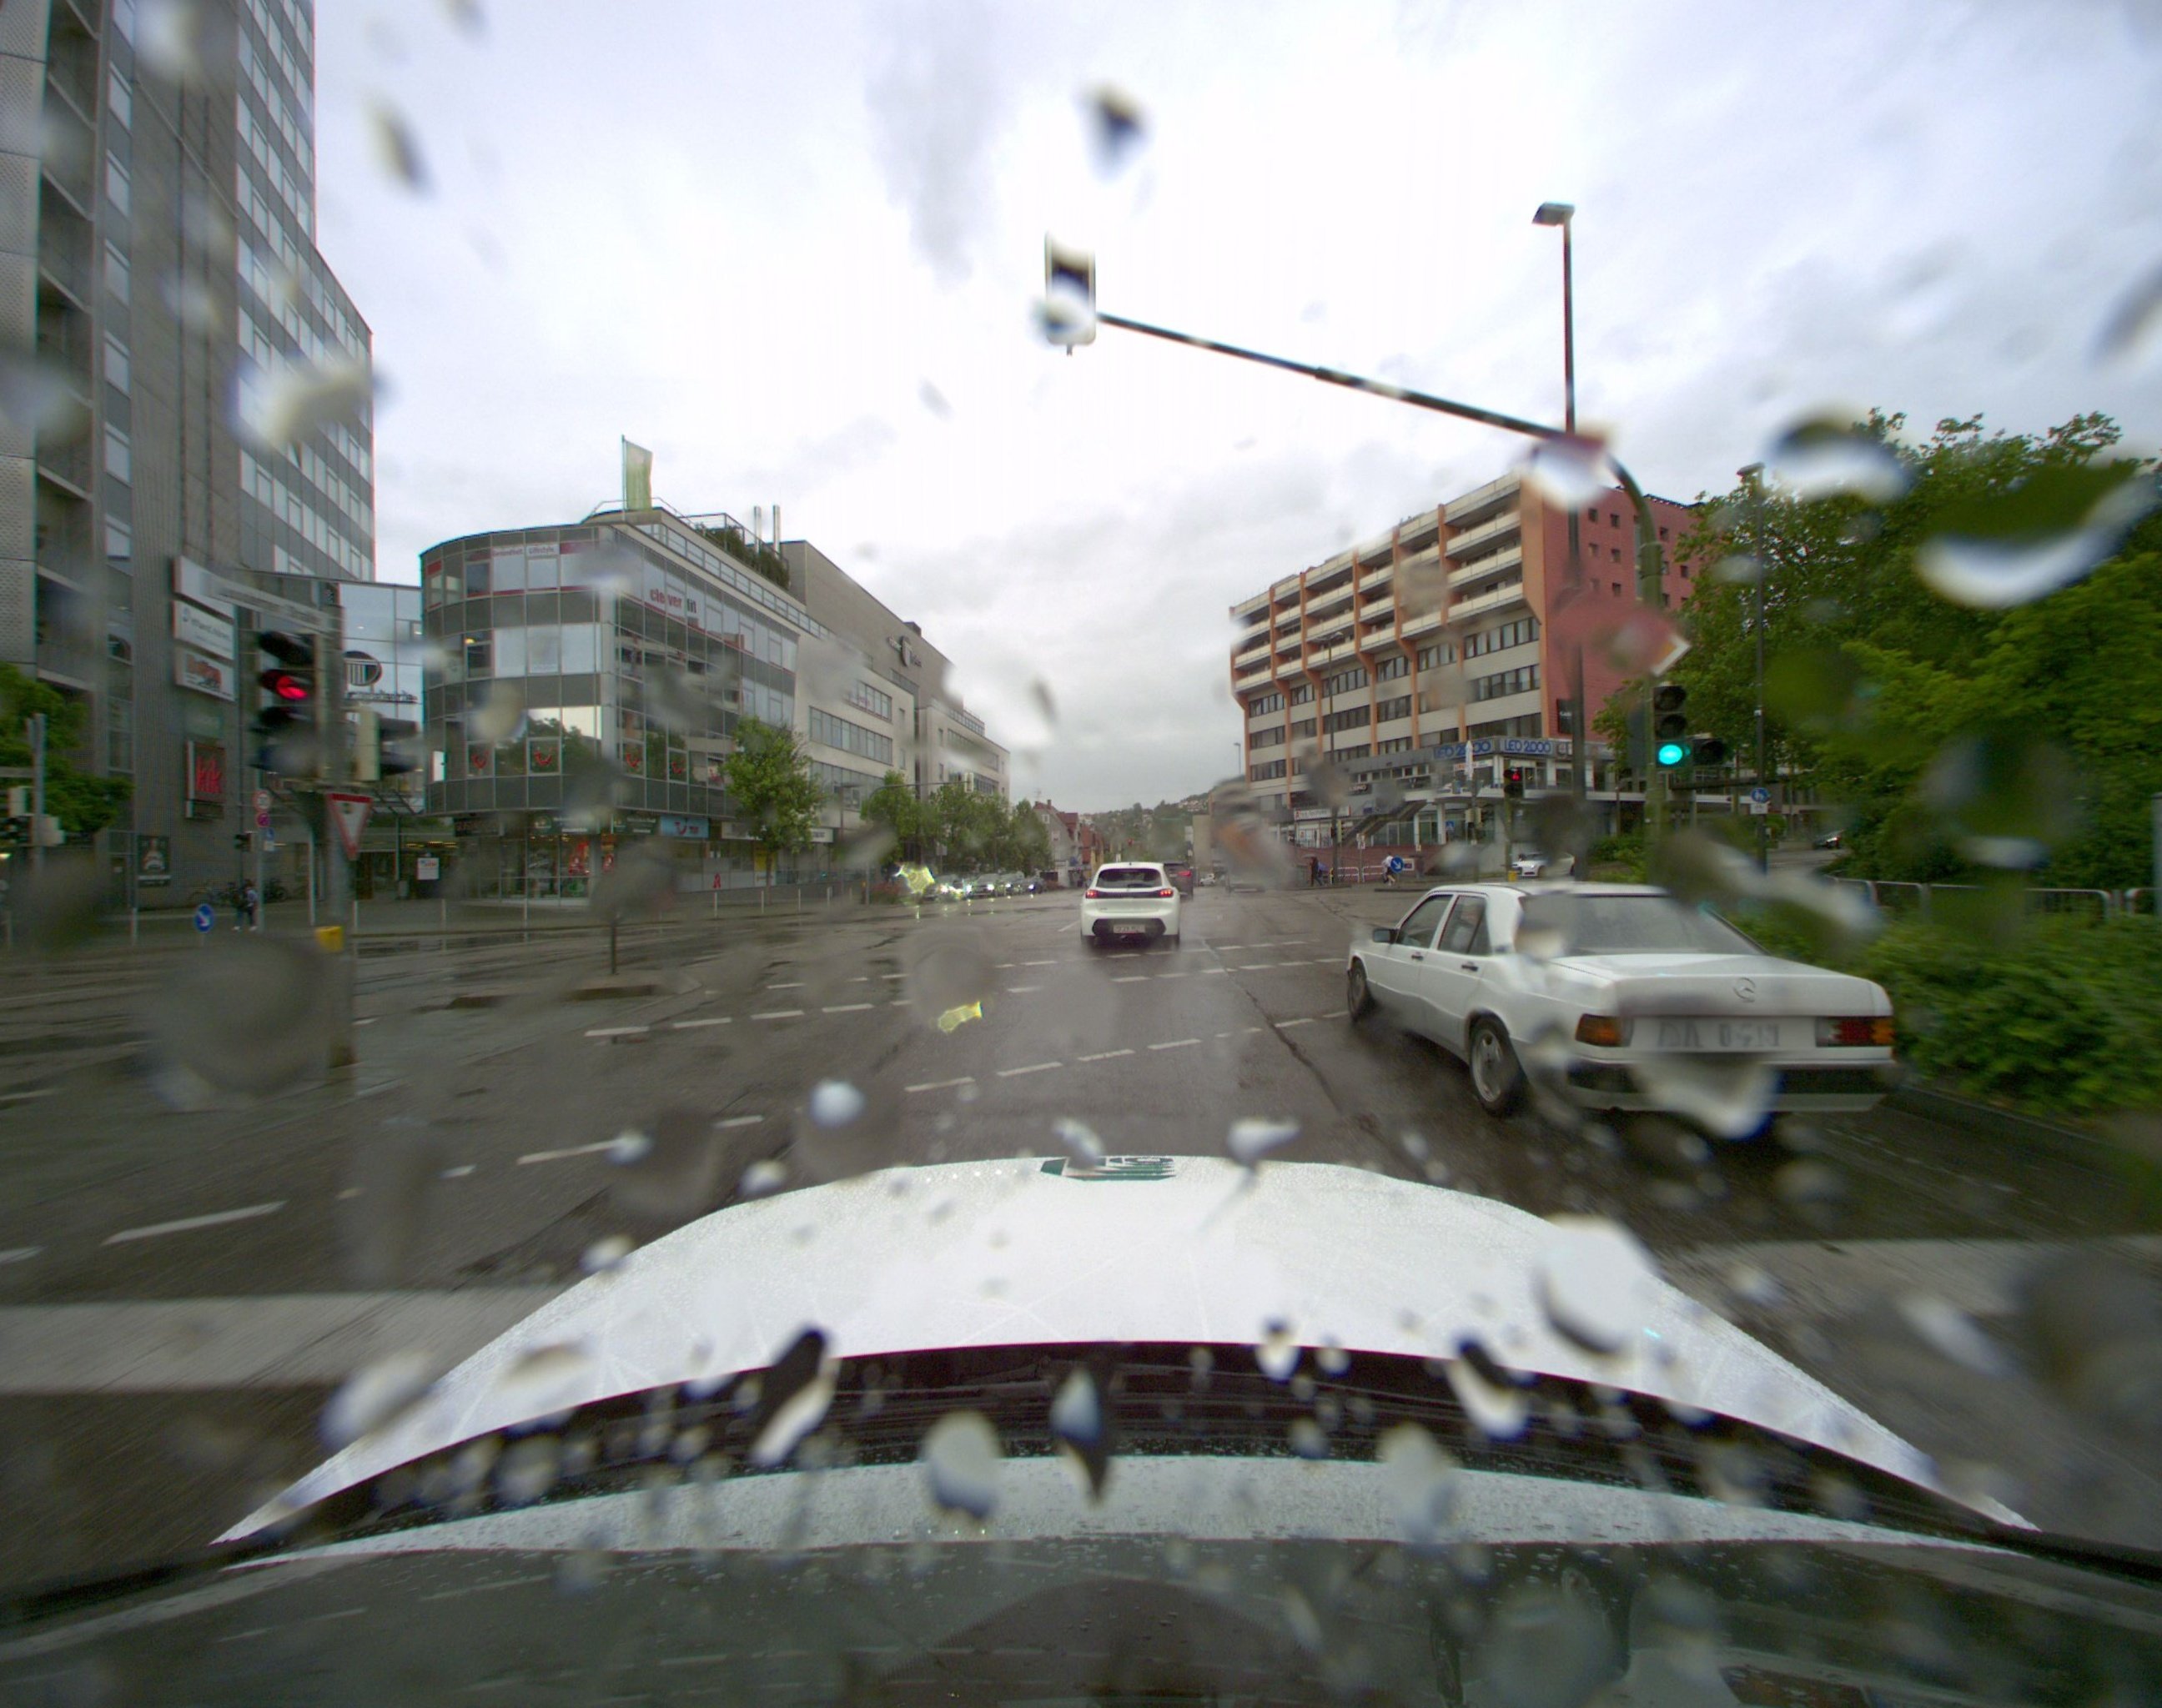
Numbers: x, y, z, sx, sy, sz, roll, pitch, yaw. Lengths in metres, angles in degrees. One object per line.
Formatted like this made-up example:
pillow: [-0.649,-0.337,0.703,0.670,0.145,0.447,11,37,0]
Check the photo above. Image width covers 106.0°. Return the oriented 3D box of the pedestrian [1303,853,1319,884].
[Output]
pedestrian: [12.085,0.759,42.832,0.703,1.607,0.657,-2,-2,10]

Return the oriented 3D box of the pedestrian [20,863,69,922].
pedestrian: [-36.047,1.316,28.338,0.712,2.014,0.762,0,-1,-10]

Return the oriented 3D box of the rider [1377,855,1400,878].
rider: [17.886,0.725,47.442,0.917,1.284,1.092,-4,0,6]

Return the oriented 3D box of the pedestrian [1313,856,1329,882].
pedestrian: [12.825,0.793,43.462,0.703,1.346,0.657,-2,-2,10]

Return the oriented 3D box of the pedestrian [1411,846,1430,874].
pedestrian: [20.194,0.351,48.476,0.789,1.668,0.933,-1,-1,9]

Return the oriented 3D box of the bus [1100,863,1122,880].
bus: [5.274,2.969,140.248,2.923,2.783,9.522,-3,-1,7]

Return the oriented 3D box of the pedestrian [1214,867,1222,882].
pedestrian: [16.189,2.404,96.101,0.643,1.823,0.577,-2,-2,-26]

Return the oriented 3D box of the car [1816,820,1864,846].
car: [63.927,-1.731,68.595,4.015,2.014,1.979,-1,-2,-34]

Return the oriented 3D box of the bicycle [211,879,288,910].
bicycle: [-37.078,1.788,36.362,2.285,1.247,0.671,-1,-1,-26]

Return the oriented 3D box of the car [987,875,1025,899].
car: [-5.568,2.444,61.271,1.764,1.594,4.597,-5,-2,7]

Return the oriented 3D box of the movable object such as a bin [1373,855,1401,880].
movable object such as a bin: [17.882,0.823,47.582,1.124,1.332,1.457,-4,-4,6]

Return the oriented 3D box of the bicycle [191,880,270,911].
bicycle: [-37.009,1.808,35.478,2.285,1.247,0.671,-1,-1,-26]

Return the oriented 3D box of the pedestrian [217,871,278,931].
pedestrian: [-26.372,1.465,25.776,0.840,1.819,1.027,-2,-1,8]

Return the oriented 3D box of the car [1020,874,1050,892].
car: [-3.774,2.381,67.441,1.717,1.388,4.607,-3,-2,6]

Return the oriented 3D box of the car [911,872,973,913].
car: [-7.275,1.956,43.049,1.910,1.631,4.912,2,3,6]

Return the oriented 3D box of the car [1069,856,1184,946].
car: [0.960,0.781,15.211,1.862,1.462,3.880,0,0,6]

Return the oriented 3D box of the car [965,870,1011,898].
car: [-6.154,1.973,54.417,1.865,1.594,4.533,-5,-2,7]

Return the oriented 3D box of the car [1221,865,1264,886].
car: [18.156,2.430,91.894,2.006,2.226,4.928,-2,-1,-29]

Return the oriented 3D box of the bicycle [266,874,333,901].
bicycle: [-38.705,1.669,40.382,2.285,1.247,0.671,-1,-1,-26]

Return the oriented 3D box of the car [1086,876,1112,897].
car: [1.775,3.171,79.191,1.984,1.824,4.304,-4,-3,6]

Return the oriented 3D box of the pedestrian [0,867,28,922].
pedestrian: [-36.890,1.384,27.835,0.827,1.868,0.754,-2,-1,4]

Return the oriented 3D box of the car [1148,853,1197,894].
car: [3.864,0.780,33.895,1.805,1.530,3.822,-2,0,9]

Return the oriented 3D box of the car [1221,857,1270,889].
car: [7.575,0.855,37.786,1.902,1.400,3.463,-1,-1,6]

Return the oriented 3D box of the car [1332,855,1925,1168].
car: [3.218,0.779,5.968,1.627,1.448,4.271,0,-1,2]

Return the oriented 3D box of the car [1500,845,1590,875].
car: [25.124,0.312,44.051,4.800,1.406,1.796,-2,-2,-26]

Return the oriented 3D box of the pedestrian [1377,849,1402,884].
pedestrian: [15.220,0.595,40.228,0.824,1.691,1.130,-1,-1,4]

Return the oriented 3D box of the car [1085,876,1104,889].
car: [1.622,3.370,96.867,1.717,1.388,4.462,-3,-2,6]
